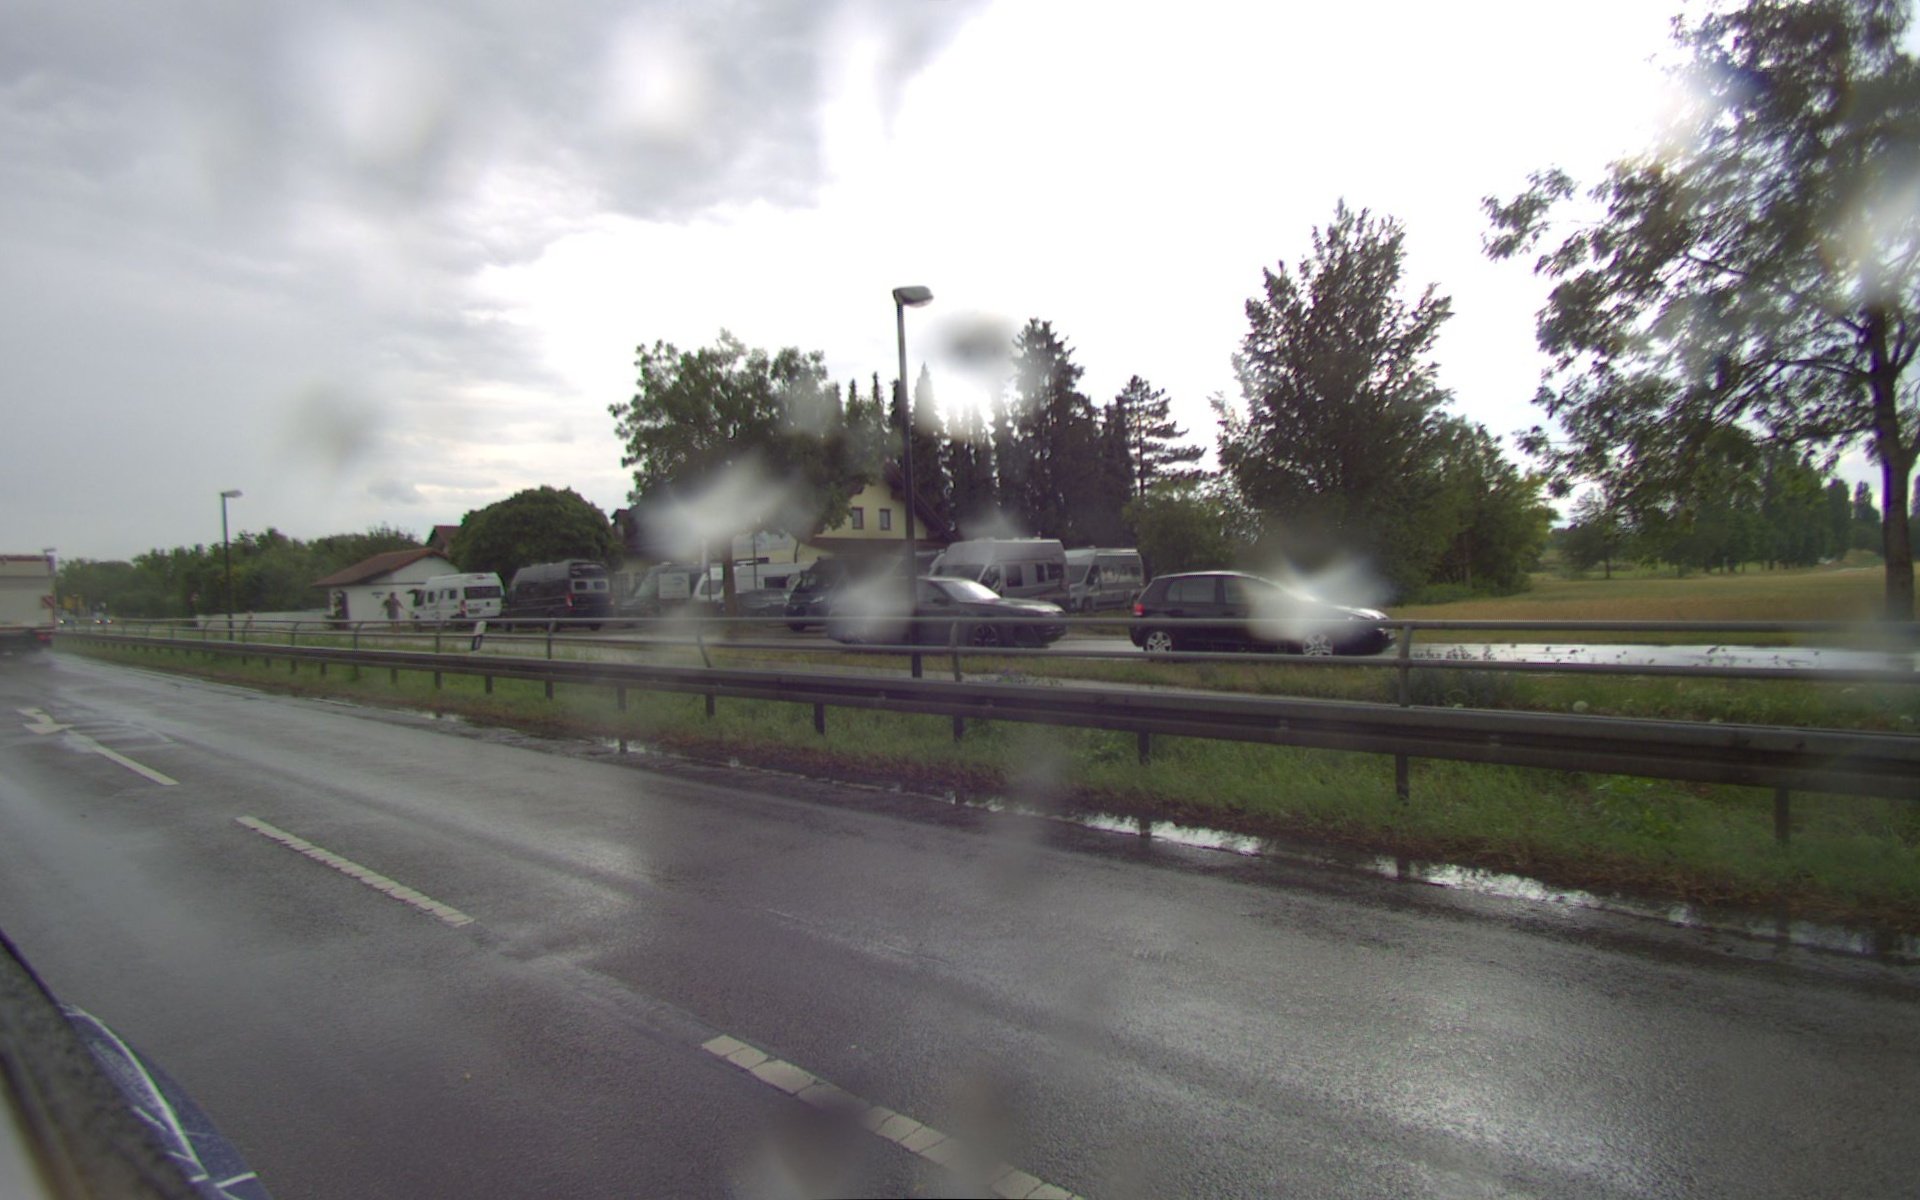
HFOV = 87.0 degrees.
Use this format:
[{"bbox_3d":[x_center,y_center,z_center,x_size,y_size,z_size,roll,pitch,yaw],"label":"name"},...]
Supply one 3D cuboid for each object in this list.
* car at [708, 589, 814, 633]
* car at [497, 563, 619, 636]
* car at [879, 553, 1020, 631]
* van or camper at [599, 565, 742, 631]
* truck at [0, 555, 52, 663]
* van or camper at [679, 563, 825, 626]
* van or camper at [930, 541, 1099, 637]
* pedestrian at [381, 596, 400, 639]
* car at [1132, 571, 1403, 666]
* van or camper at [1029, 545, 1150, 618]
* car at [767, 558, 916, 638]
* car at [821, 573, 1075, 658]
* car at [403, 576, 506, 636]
[{"bbox_3d":[-7.624,0.408,39.032,1.539,1.507,3.844,-1,1,41],"label":"car"},{"bbox_3d":[-16.715,0.000,41.925,5.571,2.783,2.358,-1,1,42],"label":"car"},{"bbox_3d":[-0.267,-0.319,34.485,1.998,2.477,5.043,-2,1,38],"label":"car"},{"bbox_3d":[-13.366,-0.136,47.101,2.432,2.822,5.993,-2,1,40],"label":"van or camper"},{"bbox_3d":[-34.500,0.373,35.878,9.554,3.478,2.548,-2,-1,43],"label":"truck"},{"bbox_3d":[-9.265,-0.302,45.664,2.560,2.611,6.161,-1,1,40],"label":"van or camper"},{"bbox_3d":[1.797,-0.392,31.102,2.079,2.697,5.817,-2,1,39],"label":"van or camper"},{"bbox_3d":[-23.519,0.712,41.766,0.509,1.723,0.651,-2,1,-41],"label":"pedestrian"},{"bbox_3d":[4.767,0.302,15.991,3.892,1.341,1.271,-2,-1,37],"label":"car"},{"bbox_3d":[5.155,-0.756,39.566,1.997,2.609,5.750,-2,1,38],"label":"van or camper"},{"bbox_3d":[-3.978,-0.118,34.788,1.998,2.520,5.133,-2,1,38],"label":"car"},{"bbox_3d":[-0.348,0.324,19.886,5.112,1.502,1.502,-2,-1,36],"label":"car"},{"bbox_3d":[-23.880,0.301,47.680,6.017,2.600,2.214,-1,1,42],"label":"car"}]
